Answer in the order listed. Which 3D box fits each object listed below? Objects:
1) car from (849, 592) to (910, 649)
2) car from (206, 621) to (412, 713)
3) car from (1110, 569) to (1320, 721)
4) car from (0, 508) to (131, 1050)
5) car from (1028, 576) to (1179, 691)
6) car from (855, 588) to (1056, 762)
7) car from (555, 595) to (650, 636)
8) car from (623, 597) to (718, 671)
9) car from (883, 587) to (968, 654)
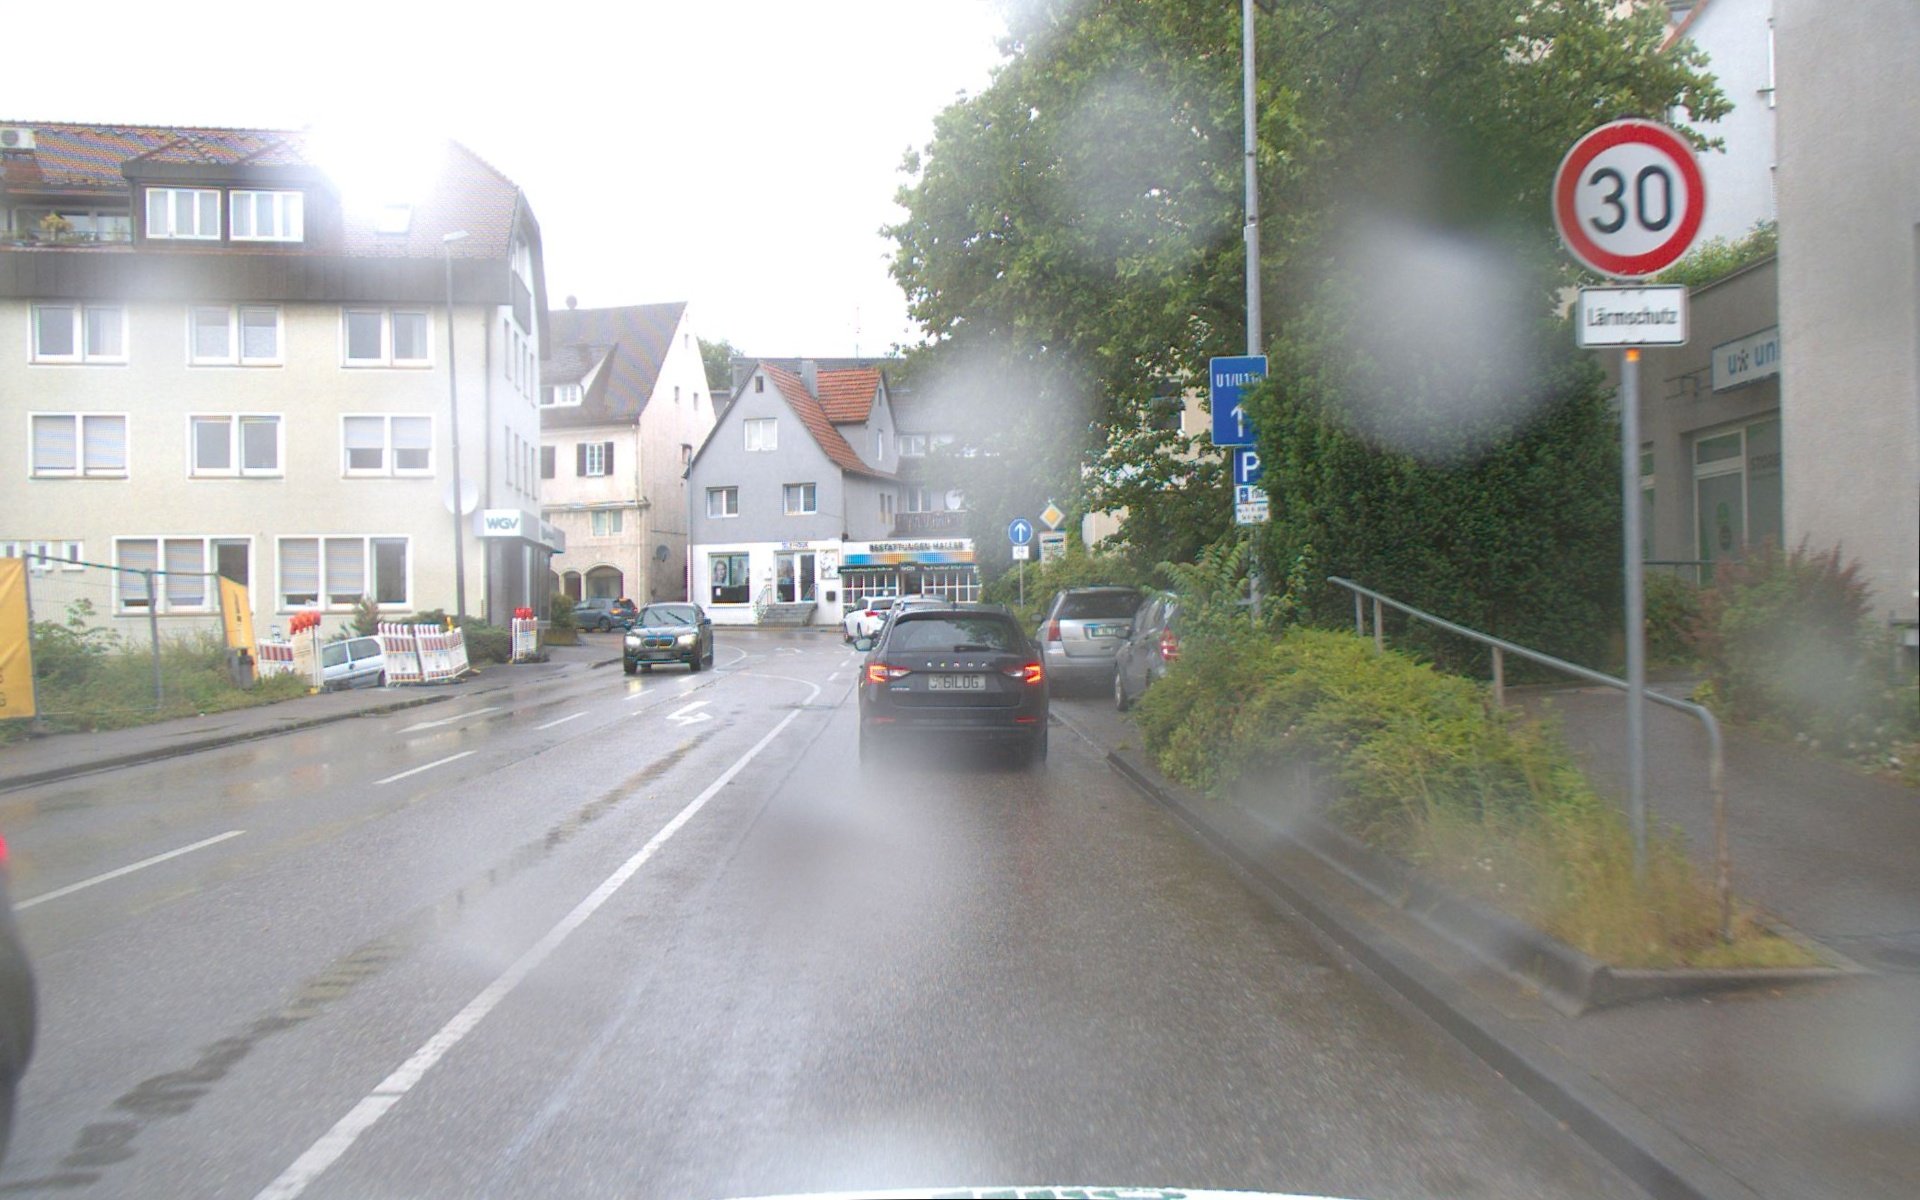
[{"bbox_3d":[-2.530,0.689,52.573,1.692,1.618,4.183,0,-3,0],"label":"car"},{"bbox_3d":[-14.538,1.469,37.158,3.942,1.410,1.788,-7,3,-13],"label":"car"},{"bbox_3d":[3.100,0.529,20.801,1.816,1.670,3.535,-2,0,-4],"label":"car"},{"bbox_3d":[-3.145,0.449,2.830,1.584,1.357,3.951,0,0,-2],"label":"car"},{"bbox_3d":[2.253,0.517,26.907,1.816,1.670,3.868,-2,0,-4],"label":"car"},{"bbox_3d":[-0.021,0.675,16.495,1.745,1.509,4.246,0,-1,0],"label":"car"},{"bbox_3d":[-15.421,0.665,71.438,3.605,1.618,1.897,-3,-2,27],"label":"car"},{"bbox_3d":[-6.667,0.793,38.462,1.626,1.598,3.998,-1,-1,-2],"label":"car"},{"bbox_3d":[-0.821,0.466,37.124,1.781,1.383,3.987,-1,-1,-3],"label":"car"}]
